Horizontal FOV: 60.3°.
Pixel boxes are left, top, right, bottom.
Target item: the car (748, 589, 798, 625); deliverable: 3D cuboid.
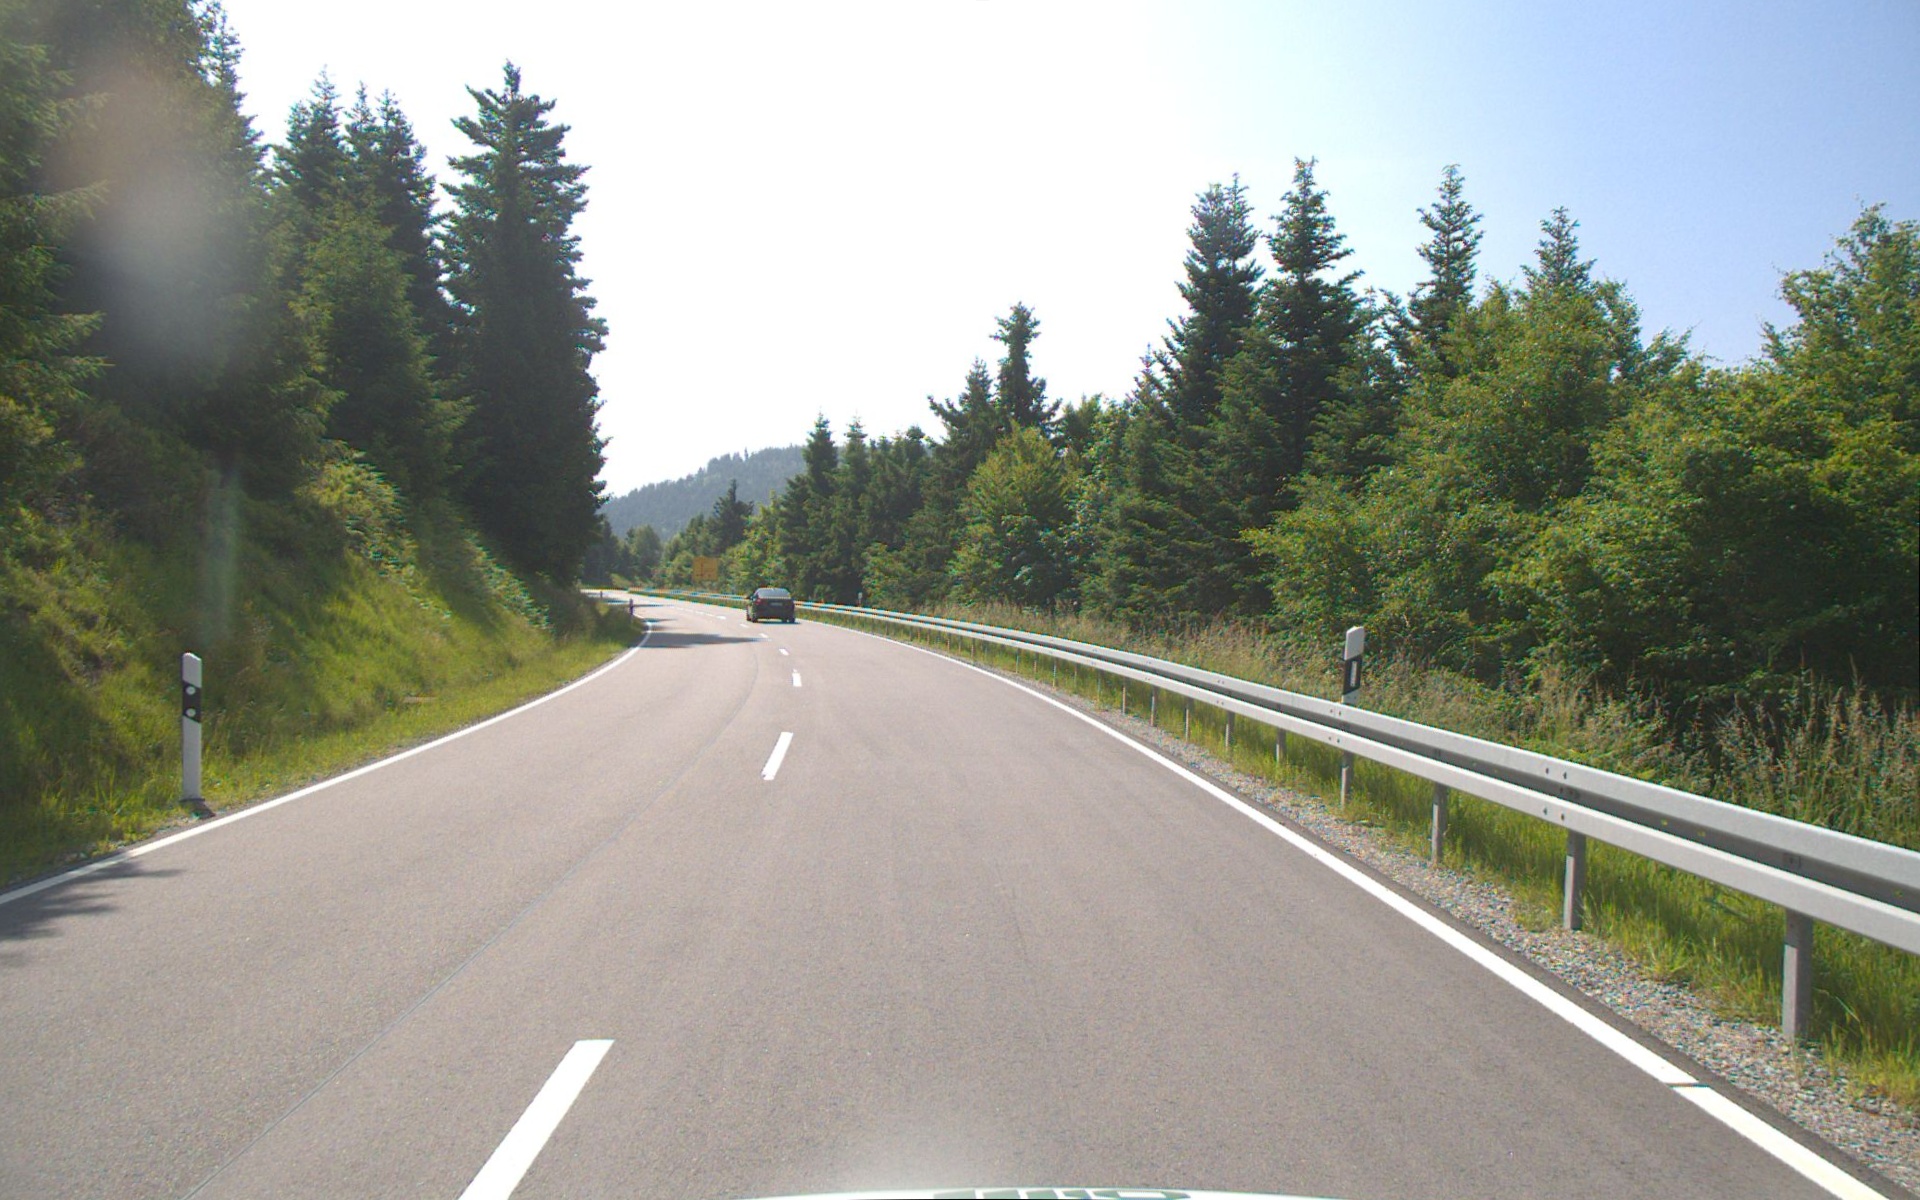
[{"bbox_3d":[-7.849,0.269,69.161,1.745,1.467,3.698,-1,0,-12],"label":"car"}]
